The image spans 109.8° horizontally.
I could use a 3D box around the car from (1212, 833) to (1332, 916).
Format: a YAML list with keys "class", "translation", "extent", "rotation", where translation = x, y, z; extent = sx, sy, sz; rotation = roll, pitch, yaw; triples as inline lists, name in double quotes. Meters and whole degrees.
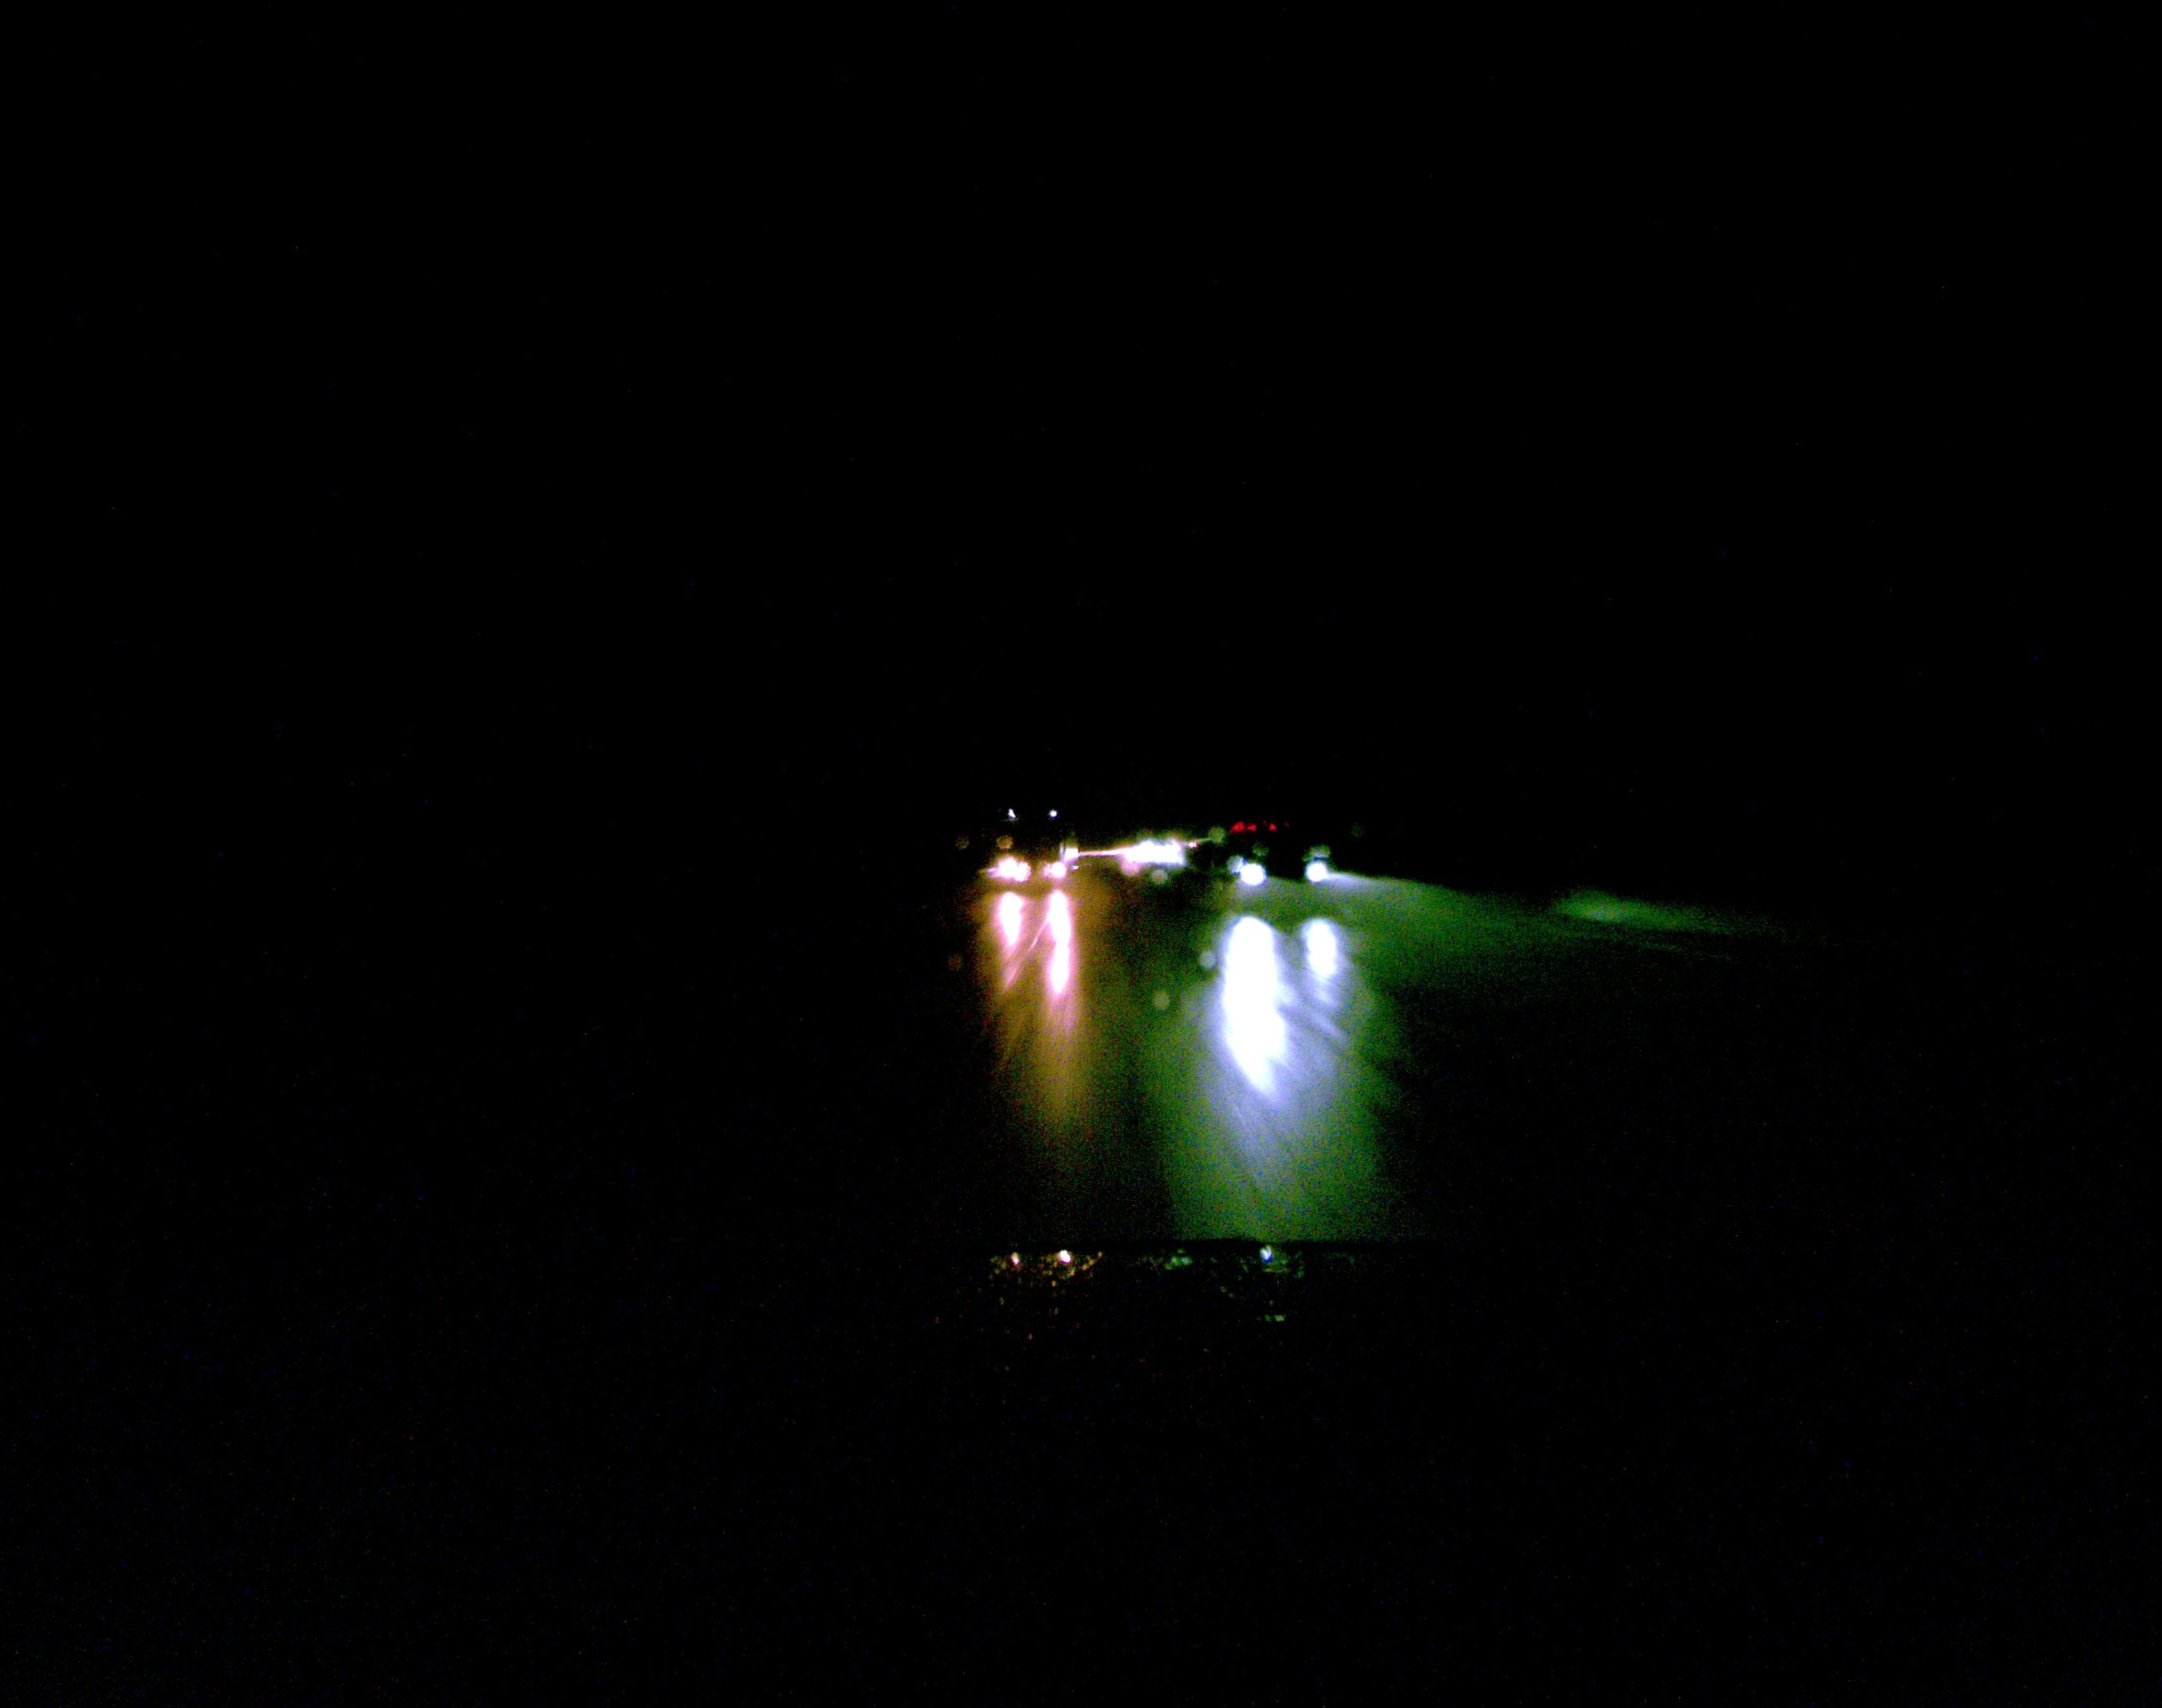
- class: "car"
  translation: [4.961, 0.416, 20.629]
  extent: [2.141, 1.874, 5.555]
  rotation: [-2, 1, 4]

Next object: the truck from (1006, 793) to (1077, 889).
- class: "truck"
  translation: [-1.773, -0.652, 36.960]
  extent: [2.502, 4.224, 5.983]
  rotation: [-2, 1, 5]

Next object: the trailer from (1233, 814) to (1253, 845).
- class: "trailer"
  translation: [32.761, -4.906, 154.348]
  extent: [2.914, 5.861, 14.177]
  rotation: [-2, 1, 8]

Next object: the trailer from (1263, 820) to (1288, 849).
- class: "trailer"
  translation: [35.387, -3.584, 138.628]
  extent: [2.779, 4.947, 14.112]
  rotation: [-2, 1, 9]

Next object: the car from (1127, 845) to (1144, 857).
- class: "car"
  translation: [7.923, -0.477, 109.754]
  extent: [1.997, 1.553, 4.648]
  rotation: [-2, 1, 9]

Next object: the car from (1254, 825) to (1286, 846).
- class: "car"
  translation: [20.270, -1.934, 81.656]
  extent: [2.148, 2.150, 5.545]
  rotation: [-1, 1, 1]

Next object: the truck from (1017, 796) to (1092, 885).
- class: "truck"
  translation: [-1.188, -0.809, 43.848]
  extent: [2.502, 4.224, 13.644]
  rotation: [-2, 1, 5]
